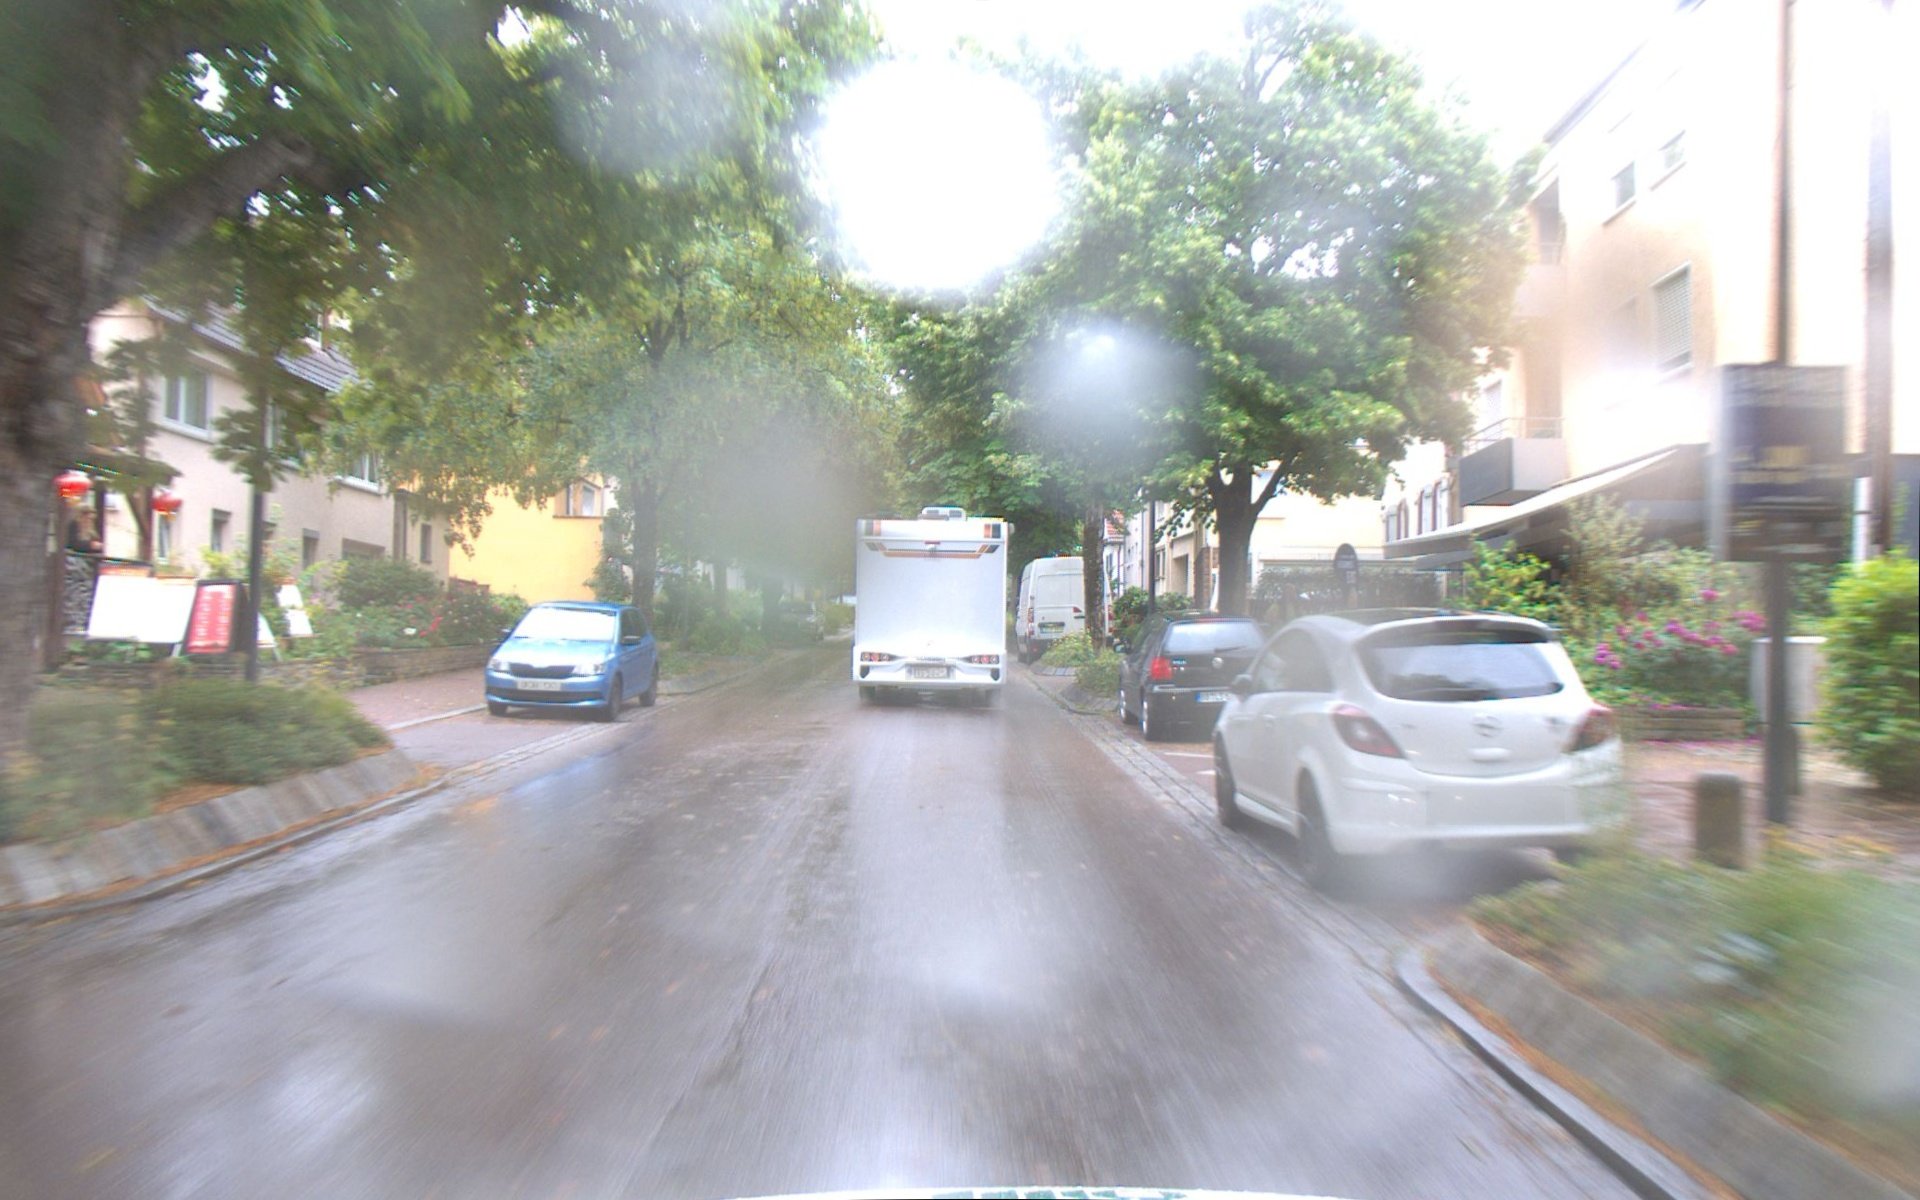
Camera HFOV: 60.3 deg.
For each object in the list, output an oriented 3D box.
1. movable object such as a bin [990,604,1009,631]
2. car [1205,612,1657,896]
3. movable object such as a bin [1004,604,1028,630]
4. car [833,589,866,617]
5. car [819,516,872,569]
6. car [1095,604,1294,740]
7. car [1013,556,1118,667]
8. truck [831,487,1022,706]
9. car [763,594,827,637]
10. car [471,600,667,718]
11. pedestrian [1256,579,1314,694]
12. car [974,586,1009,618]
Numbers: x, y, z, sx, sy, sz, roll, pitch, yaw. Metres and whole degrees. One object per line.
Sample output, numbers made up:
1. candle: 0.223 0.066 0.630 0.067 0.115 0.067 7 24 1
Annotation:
1. movable object such as a bin: 1.600 0.704 67.112 0.674 1.101 0.540 1 -1 -5
2. car: 2.681 0.794 10.317 1.646 1.424 3.793 0 0 -2
3. movable object such as a bin: 2.817 0.858 83.728 1.199 1.338 1.134 0 0 1
4. car: -6.499 0.154 97.481 1.613 1.560 3.866 2 0 1
5. car: -4.784 -2.372 69.534 1.953 2.049 3.999 1 0 -1
6. car: 2.691 0.785 19.780 1.772 1.435 3.782 1 0 -1
7. car: 2.488 0.272 40.327 2.097 2.503 5.434 1 0 -1
8. truck: -0.508 -0.035 26.379 2.639 3.038 6.235 1 0 -1
9. car: -5.873 0.539 59.278 1.736 1.413 4.545 2 0 0
10. car: -5.147 0.739 22.264 1.713 1.420 3.795 1 0 0
11. pedestrian: 5.081 0.566 25.840 0.753 1.762 0.491 0 0 -13
12. car: 1.801 0.095 97.094 1.875 1.823 4.488 1 1 -1
